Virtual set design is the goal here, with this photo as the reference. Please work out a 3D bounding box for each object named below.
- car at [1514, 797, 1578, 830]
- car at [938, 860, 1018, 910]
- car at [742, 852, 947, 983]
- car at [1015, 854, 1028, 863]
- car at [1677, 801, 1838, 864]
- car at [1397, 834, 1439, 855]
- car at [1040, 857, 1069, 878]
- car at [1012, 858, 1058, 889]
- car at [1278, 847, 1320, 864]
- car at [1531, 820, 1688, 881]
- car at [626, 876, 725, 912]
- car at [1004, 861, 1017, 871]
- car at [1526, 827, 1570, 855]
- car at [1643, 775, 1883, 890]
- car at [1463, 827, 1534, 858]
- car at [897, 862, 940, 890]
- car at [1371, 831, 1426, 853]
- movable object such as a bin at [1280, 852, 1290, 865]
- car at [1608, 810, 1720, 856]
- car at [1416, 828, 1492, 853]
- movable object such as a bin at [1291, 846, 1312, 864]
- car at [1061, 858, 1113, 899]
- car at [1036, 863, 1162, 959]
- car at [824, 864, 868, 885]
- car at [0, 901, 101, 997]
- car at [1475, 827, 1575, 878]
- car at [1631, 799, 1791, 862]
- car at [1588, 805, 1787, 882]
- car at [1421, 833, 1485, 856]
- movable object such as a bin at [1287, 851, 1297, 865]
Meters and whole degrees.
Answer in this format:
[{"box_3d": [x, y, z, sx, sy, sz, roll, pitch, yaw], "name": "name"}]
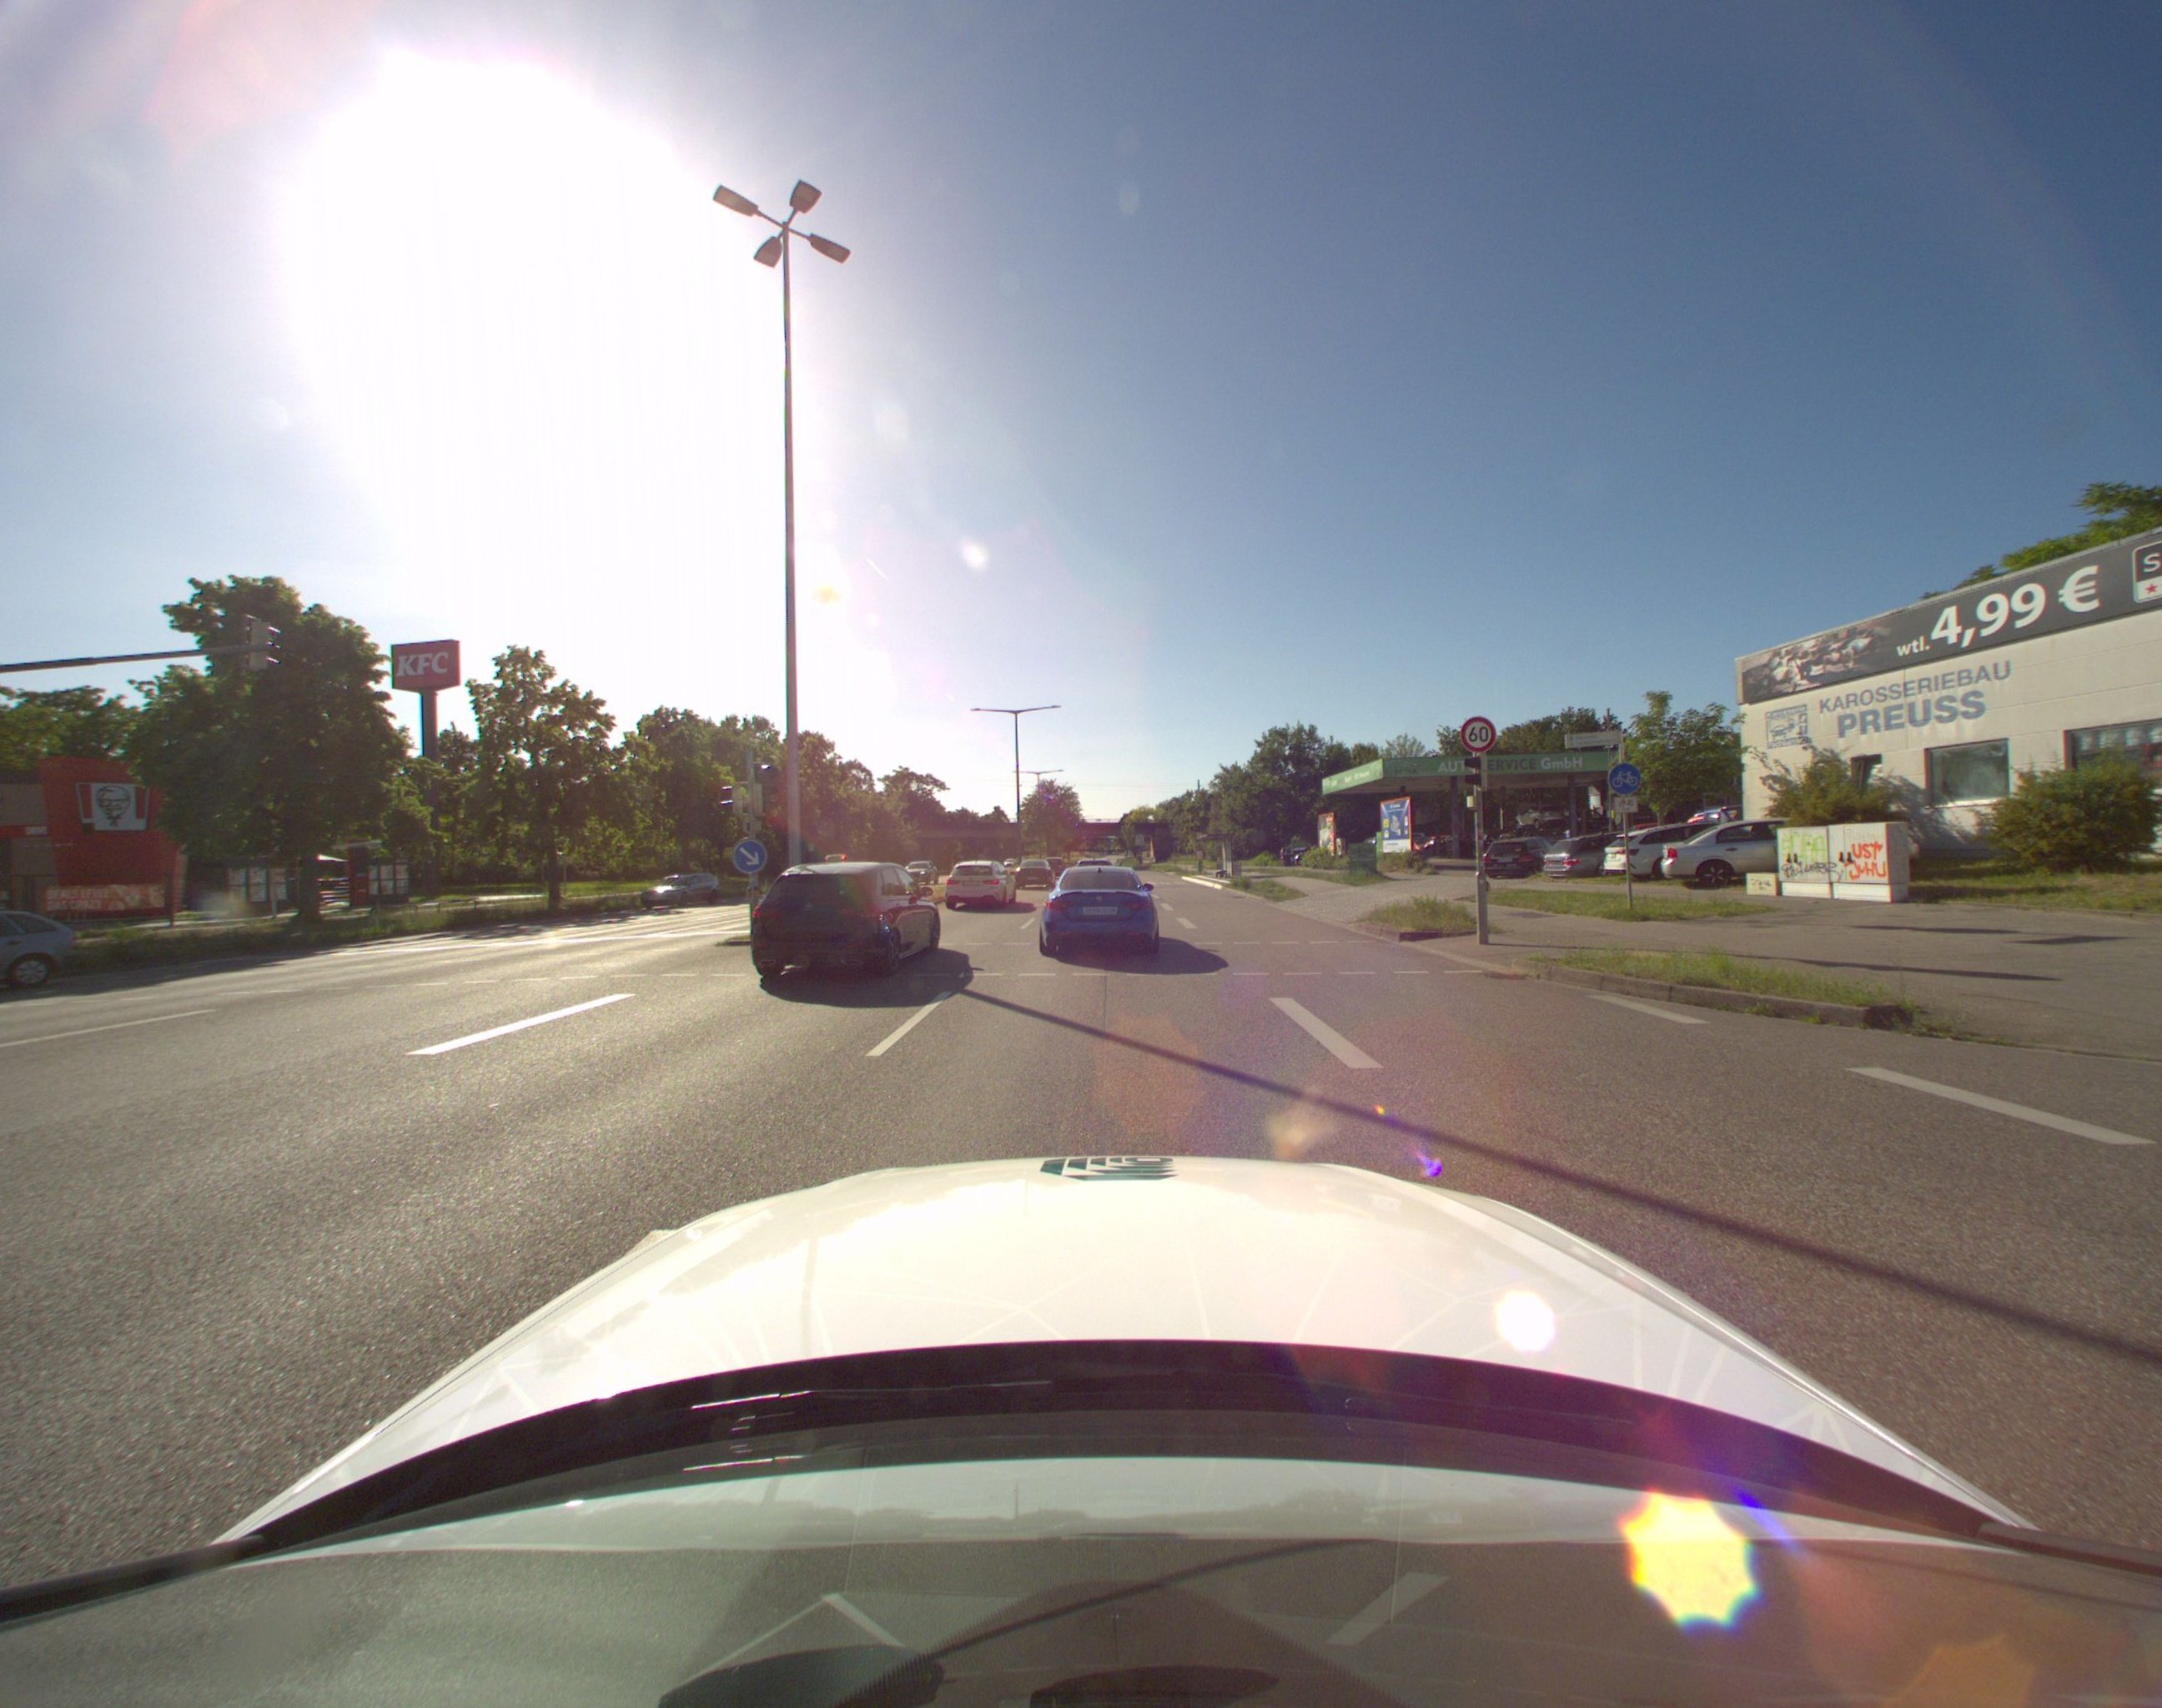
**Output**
[{"box_3d": [29.277, -2.506, 51.419, 1.911, 1.755, 3.780, -3, -1, 3], "name": "car"}, {"box_3d": [-3.191, 0.926, 26.153, 1.876, 1.454, 4.528, 0, -1, 2], "name": "car"}, {"box_3d": [-3.264, 0.802, 12.148, 1.701, 1.598, 4.225, 0, -1, 2], "name": "car"}, {"box_3d": [-10.616, 0.774, 146.381, 1.811, 1.435, 4.632, -4, -1, 1], "name": "car"}, {"box_3d": [23.201, -0.664, 28.188, 1.887, 1.861, 4.215, -5, -1, -1], "name": "car"}, {"box_3d": [26.984, -0.731, 65.339, 1.707, 1.607, 4.137, 0, -1, 2], "name": "car"}, {"box_3d": [-1.932, 0.989, 60.468, 1.773, 1.454, 4.183, -2, 0, 2], "name": "car"}, {"box_3d": [-2.247, 0.943, 40.704, 1.876, 1.454, 4.528, 0, -1, 2], "name": "car"}, {"box_3d": [19.164, 0.133, 71.581, 3.270, 1.486, 1.773, 0, -1, 3], "name": "car"}, {"box_3d": [16.546, -0.086, 25.648, 3.592, 1.290, 1.842, -9, -2, 2], "name": "car"}, {"box_3d": [-18.024, 1.740, 36.460, 1.986, 1.376, 4.624, -2, -1, 2], "name": "car"}, {"box_3d": [-11.694, 1.983, 135.447, 1.635, 1.451, 4.112, -4, -1, 1], "name": "car"}, {"box_3d": [24.990, -0.684, 43.541, 1.671, 1.421, 3.727, -1, 1, 36], "name": "car"}, {"box_3d": [15.848, -0.482, 19.247, 3.948, 2.013, 1.697, -10, -1, 34], "name": "car"}, {"box_3d": [23.004, -0.596, 45.065, 1.986, 1.647, 4.001, 0, -1, 2], "name": "car"}, {"box_3d": [-10.800, 1.442, 54.471, 1.867, 1.642, 4.172, -3, -1, 2], "name": "car"}, {"box_3d": [27.212, -1.022, 69.845, 4.021, 1.531, 1.735, -4, -1, 3], "name": "car"}, {"box_3d": [16.684, 0.370, 66.637, 0.585, 1.074, 0.504, -1, 0, -40], "name": "movable object such as a bin"}, {"box_3d": [27.222, -0.954, 38.139, 3.752, 1.548, 1.849, -7, -3, 0], "name": "car"}, {"box_3d": [23.807, -0.842, 52.096, 2.008, 1.486, 3.957, 0, -1, -35], "name": "car"}, {"box_3d": [17.802, 0.057, 65.704, 0.994, 1.428, 1.245, -1, 0, -41], "name": "movable object such as a bin"}, {"box_3d": [0.278, 0.894, 31.435, 1.876, 1.454, 4.528, 0, -1, 2], "name": "car"}, {"box_3d": [0.332, 0.871, 14.232, 1.876, 1.406, 4.225, 0, -1, 2], "name": "car"}, {"box_3d": [-17.758, 1.522, 61.691, 1.986, 1.474, 4.197, -2, -1, 2], "name": "car"}, {"box_3d": [-19.270, 1.685, 13.035, 1.986, 1.525, 4.197, -2, 0, 2], "name": "car"}, {"box_3d": [16.444, -0.101, 30.039, 1.877, 1.531, 4.865, -5, -1, 45], "name": "car"}, {"box_3d": [21.161, -0.716, 27.648, 1.678, 1.783, 4.594, -5, -1, -1], "name": "car"}, {"box_3d": [16.532, -0.269, 22.415, 3.892, 1.452, 1.731, -9, -2, 12], "name": "car"}, {"box_3d": [28.051, -0.704, 61.469, 3.977, 1.517, 1.696, -3, -1, -3], "name": "car"}, {"box_3d": [17.187, 0.347, 66.366, 0.585, 1.121, 0.504, -1, -1, -40], "name": "movable object such as a bin"}]
